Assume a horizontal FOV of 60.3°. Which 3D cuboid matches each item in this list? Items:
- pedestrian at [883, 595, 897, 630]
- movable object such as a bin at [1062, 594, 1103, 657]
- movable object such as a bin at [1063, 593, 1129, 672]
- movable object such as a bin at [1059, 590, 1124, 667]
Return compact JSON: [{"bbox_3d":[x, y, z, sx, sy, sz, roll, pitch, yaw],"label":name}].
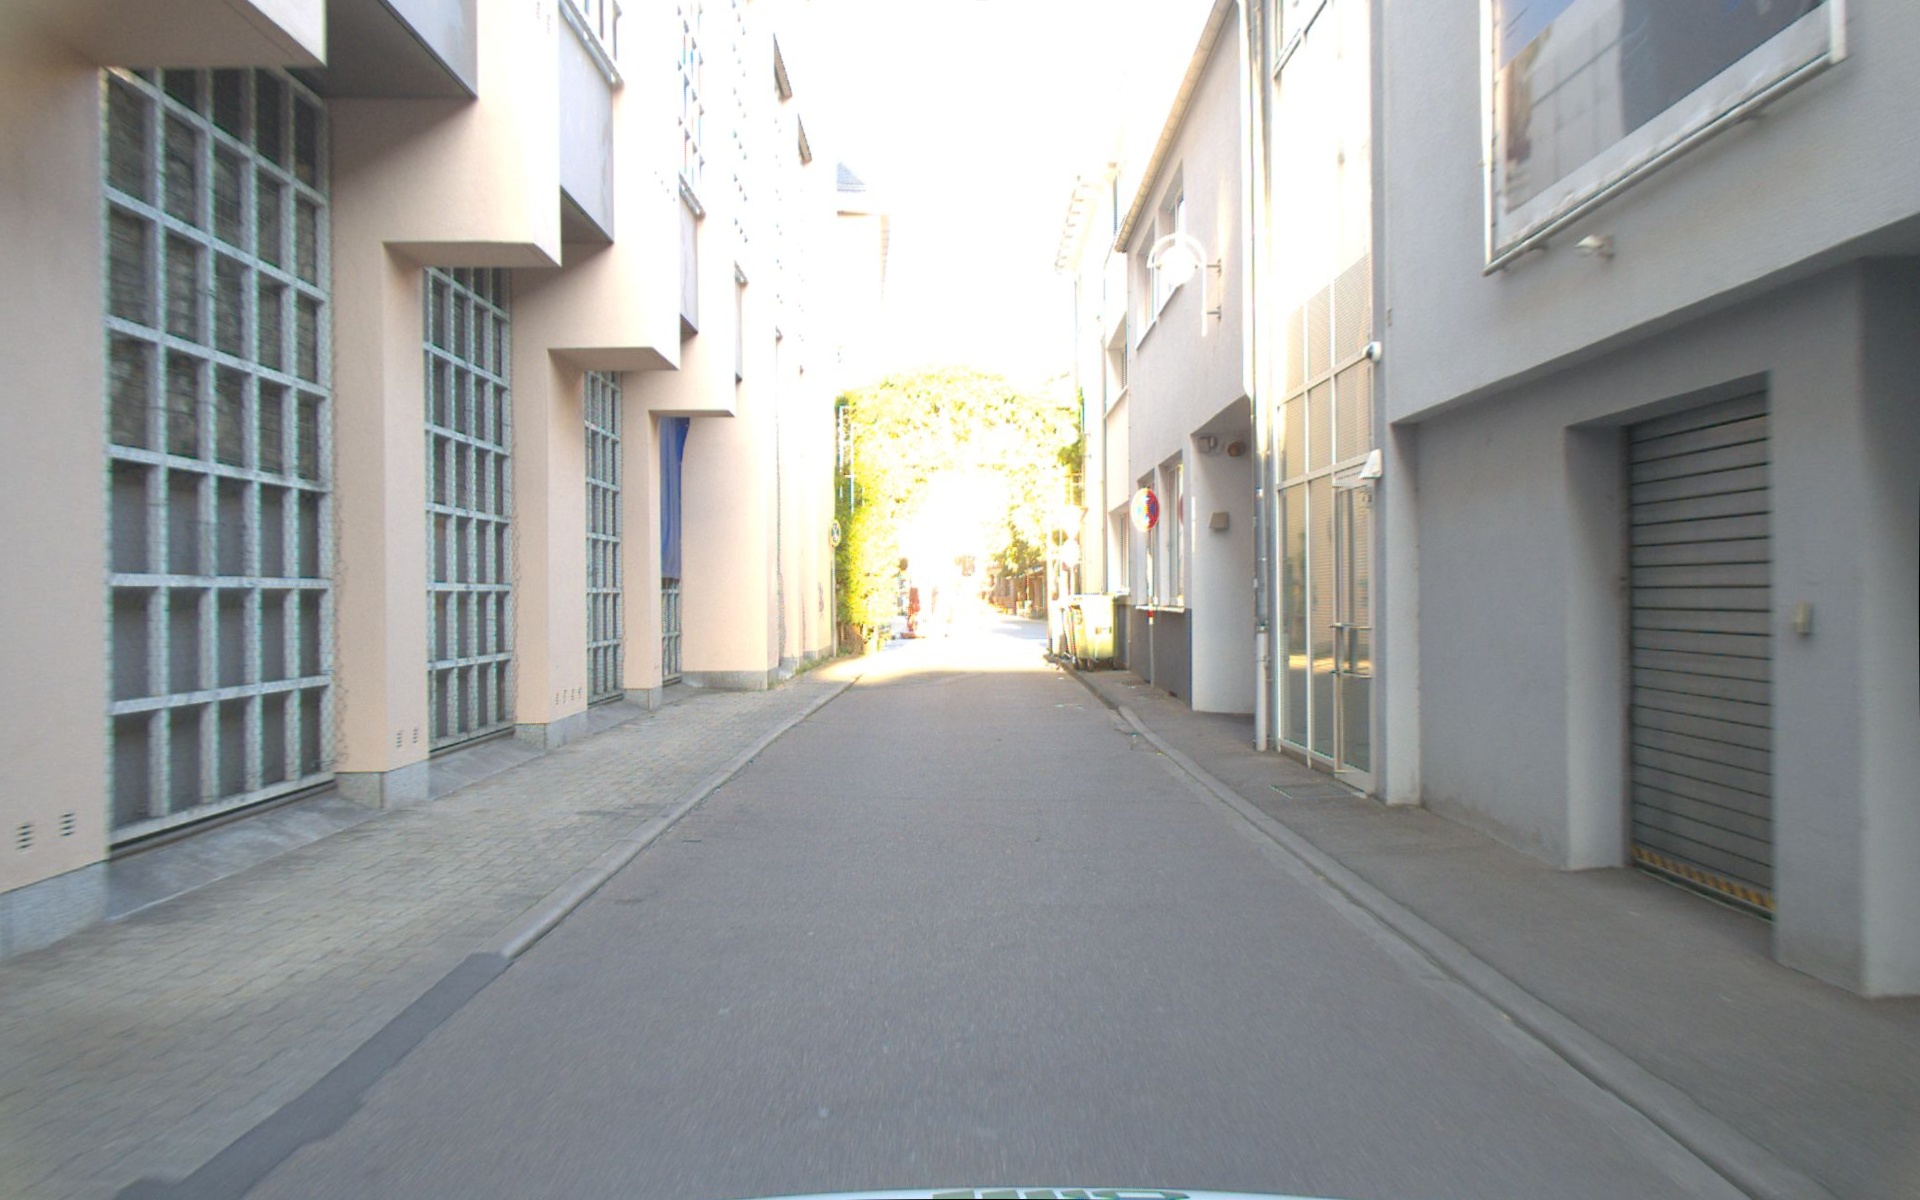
[{"bbox_3d":[-3.713,0.667,87.303,0.640,1.795,0.634,-1,0,3],"label":"pedestrian"},{"bbox_3d":[2.696,0.544,36.557,0.818,1.327,1.290,-3,0,3],"label":"movable object such as a bin"},{"bbox_3d":[2.493,0.587,30.500,0.919,1.390,1.340,-3,0,-6],"label":"movable object such as a bin"},{"bbox_3d":[2.519,0.542,31.906,1.043,1.390,1.341,-3,0,-2],"label":"movable object such as a bin"}]
